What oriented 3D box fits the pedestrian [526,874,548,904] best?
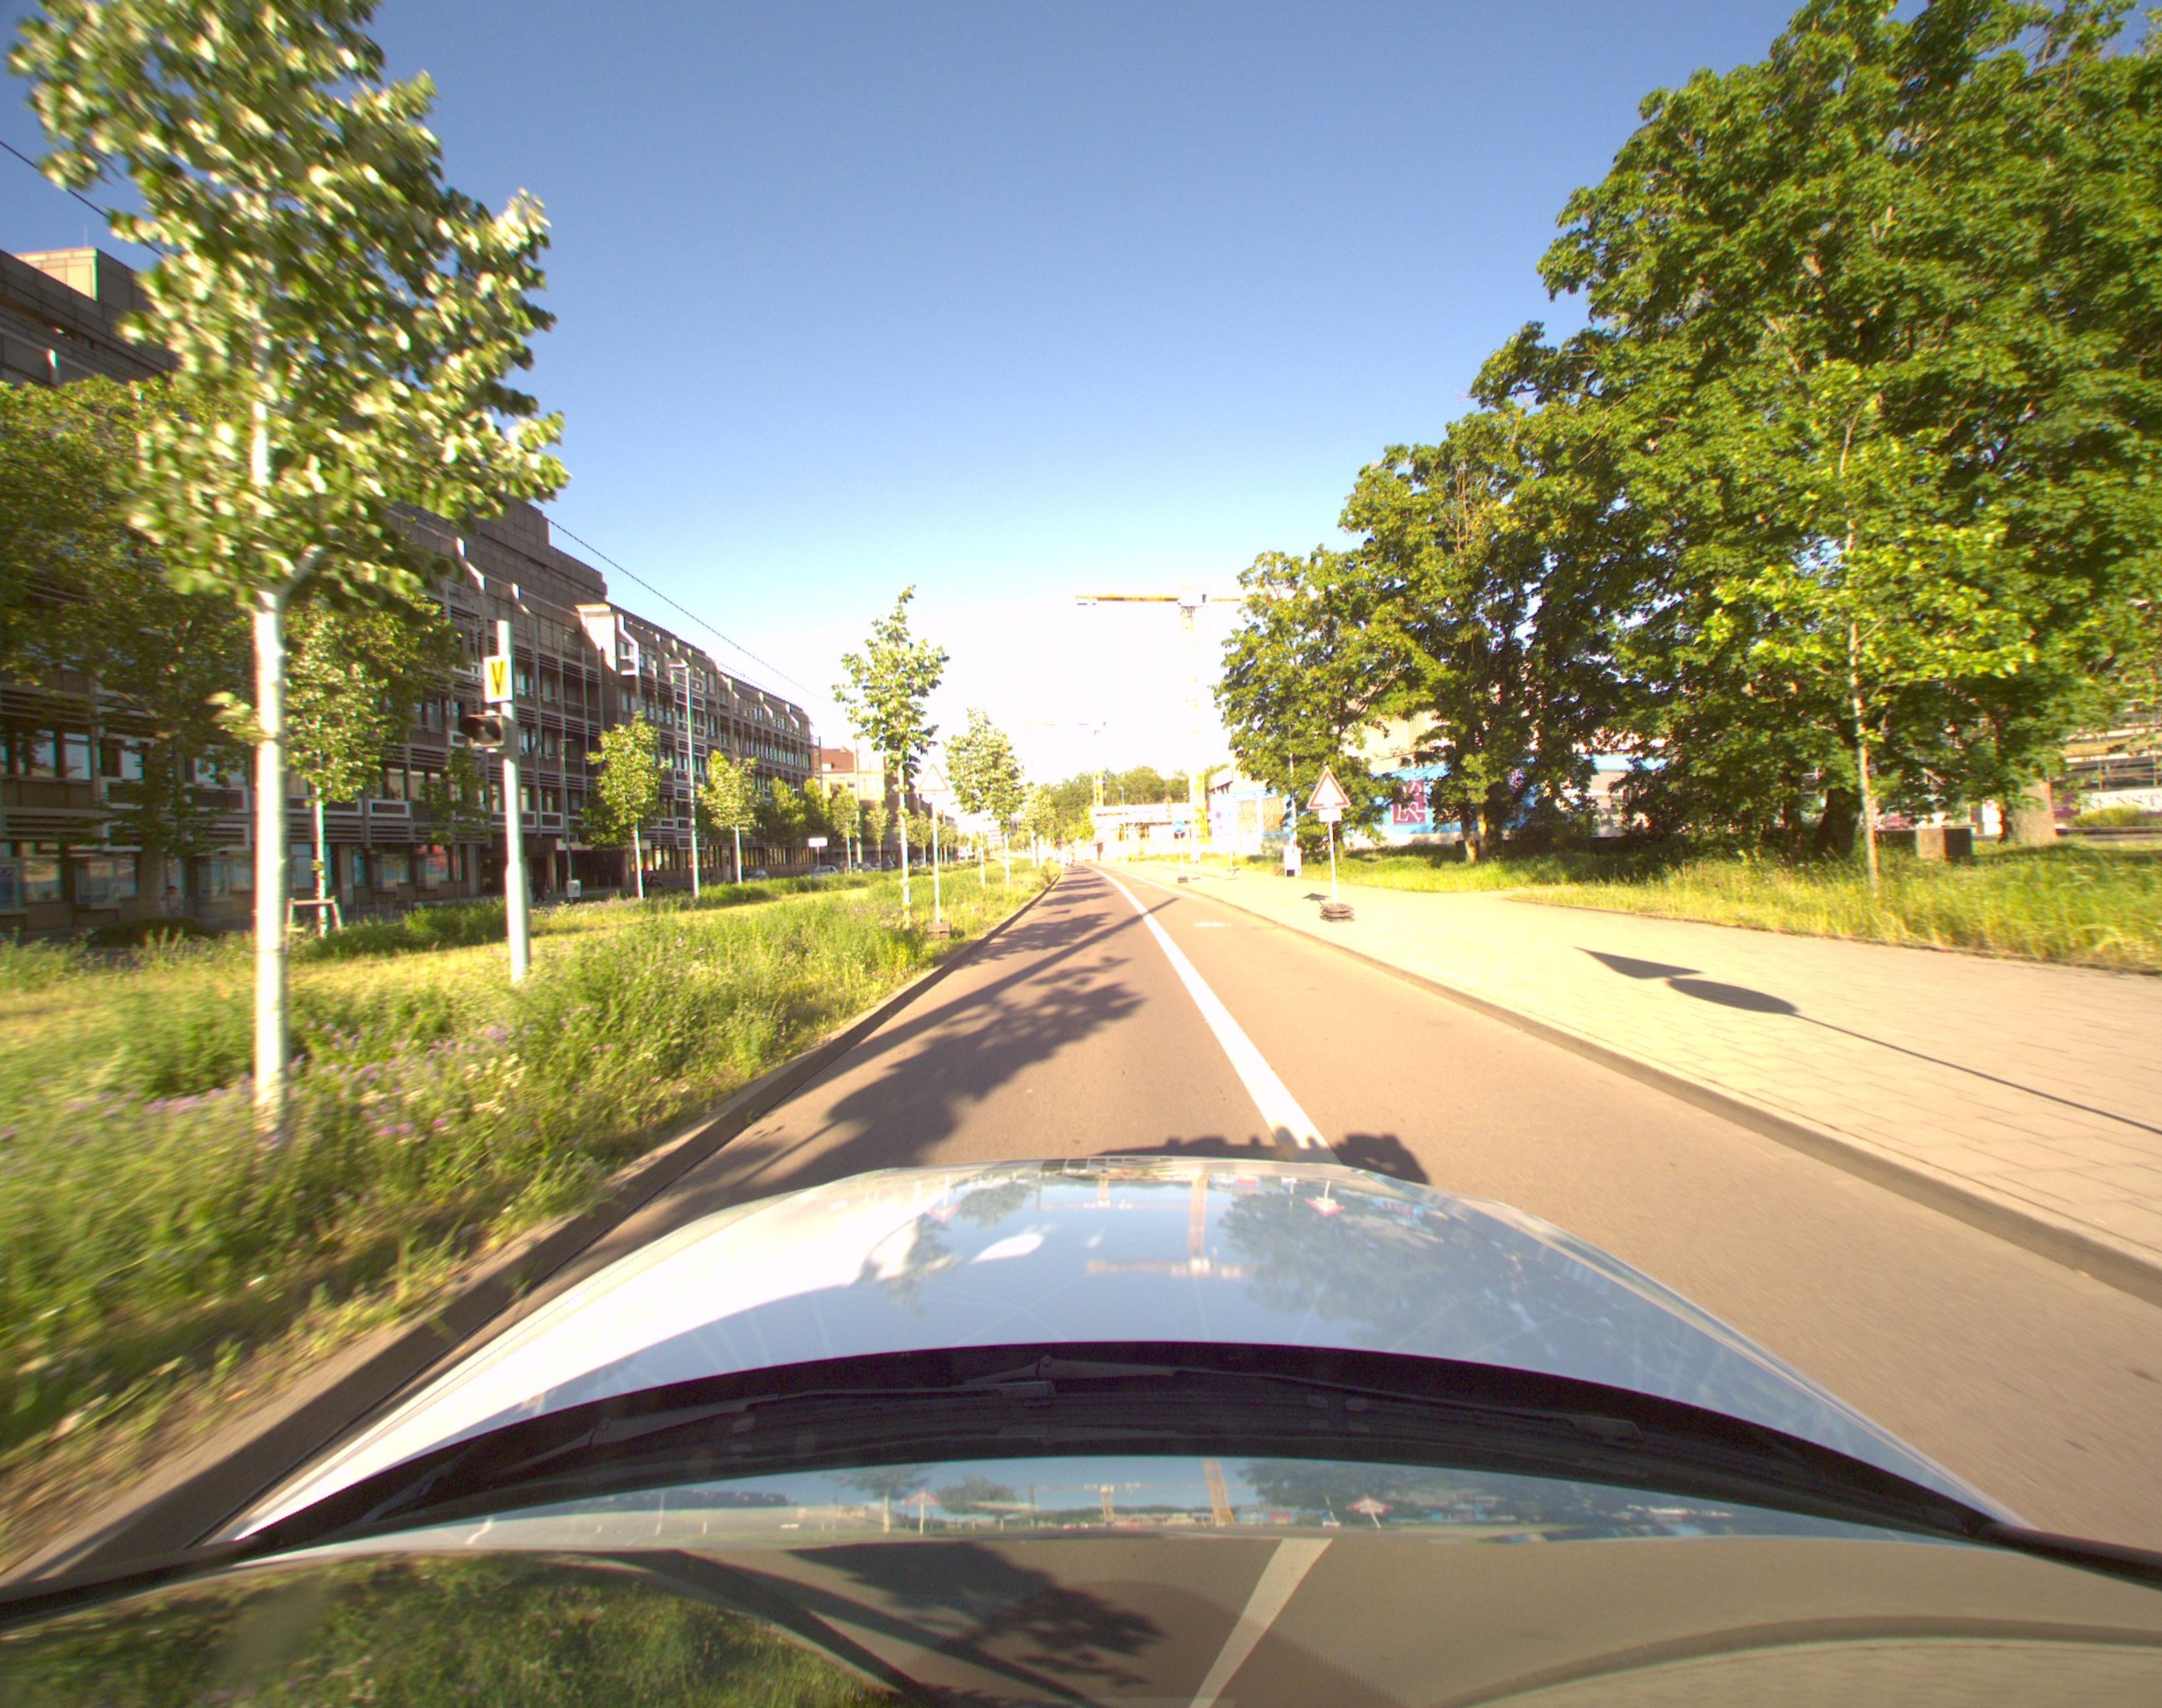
[{"bbox_3d":[-29.215,1.862,43.725,0.662,1.532,0.649,-3,0,-3],"label":"pedestrian"}]

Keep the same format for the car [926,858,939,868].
[{"bbox_3d":[-27.677,1.668,151.859,1.901,1.575,4.291,-3,0,-6],"label":"car"}]

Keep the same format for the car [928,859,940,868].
[{"bbox_3d":[-28.228,1.798,156.608,1.901,1.575,4.291,-3,0,-6],"label":"car"}]

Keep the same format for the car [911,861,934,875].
[{"bbox_3d":[-19.655,1.694,101.022,1.897,1.575,4.301,-3,0,0],"label":"car"}]

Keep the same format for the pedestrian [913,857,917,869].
[{"bbox_3d":[-28.800,1.543,141.256,0.549,1.947,0.648,-3,0,-8],"label":"pedestrian"}]

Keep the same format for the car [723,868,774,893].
[{"bbox_3d":[-24.496,1.949,60.173,1.897,1.575,4.301,-3,0,0],"label":"car"}]

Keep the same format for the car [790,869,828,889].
[{"bbox_3d":[-24.915,2.234,74.738,1.897,1.575,4.301,-3,0,0],"label":"car"}]

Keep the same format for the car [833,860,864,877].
[{"bbox_3d":[-24.339,1.508,85.228,1.897,1.575,4.301,-3,0,0],"label":"car"}]

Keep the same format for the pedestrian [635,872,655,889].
[{"bbox_3d":[-31.435,1.912,58.766,0.897,1.169,0.865,-3,0,0],"label":"pedestrian"}]

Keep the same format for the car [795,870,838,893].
[{"bbox_3d":[-20.291,2.090,62.674,1.897,1.575,4.000,-3,0,0],"label":"car"}]

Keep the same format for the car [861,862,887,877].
[{"bbox_3d":[-24.658,1.781,96.969,1.897,1.575,4.301,-3,0,0],"label":"car"}]

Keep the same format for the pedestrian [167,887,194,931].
[{"bbox_3d":[-33.074,2.019,29.917,0.407,1.561,0.447,-3,0,2],"label":"pedestrian"}]

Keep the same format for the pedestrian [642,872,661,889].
[{"bbox_3d":[-31.554,1.913,59.858,0.896,1.169,0.899,-3,0,2],"label":"pedestrian"}]

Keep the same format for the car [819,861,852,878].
[{"bbox_3d":[-24.290,1.513,80.804,1.897,1.575,4.301,-3,0,0],"label":"car"}]

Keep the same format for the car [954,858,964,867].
[{"bbox_3d":[-25.514,1.764,170.449,1.901,1.575,4.291,-3,0,-6],"label":"car"}]

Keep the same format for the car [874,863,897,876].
[{"bbox_3d":[-25.058,1.967,104.561,1.897,1.575,4.301,-3,0,0],"label":"car"}]

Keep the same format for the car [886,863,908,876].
[{"bbox_3d":[-25.362,2.155,112.328,1.897,1.575,4.301,-3,0,0],"label":"car"}]
